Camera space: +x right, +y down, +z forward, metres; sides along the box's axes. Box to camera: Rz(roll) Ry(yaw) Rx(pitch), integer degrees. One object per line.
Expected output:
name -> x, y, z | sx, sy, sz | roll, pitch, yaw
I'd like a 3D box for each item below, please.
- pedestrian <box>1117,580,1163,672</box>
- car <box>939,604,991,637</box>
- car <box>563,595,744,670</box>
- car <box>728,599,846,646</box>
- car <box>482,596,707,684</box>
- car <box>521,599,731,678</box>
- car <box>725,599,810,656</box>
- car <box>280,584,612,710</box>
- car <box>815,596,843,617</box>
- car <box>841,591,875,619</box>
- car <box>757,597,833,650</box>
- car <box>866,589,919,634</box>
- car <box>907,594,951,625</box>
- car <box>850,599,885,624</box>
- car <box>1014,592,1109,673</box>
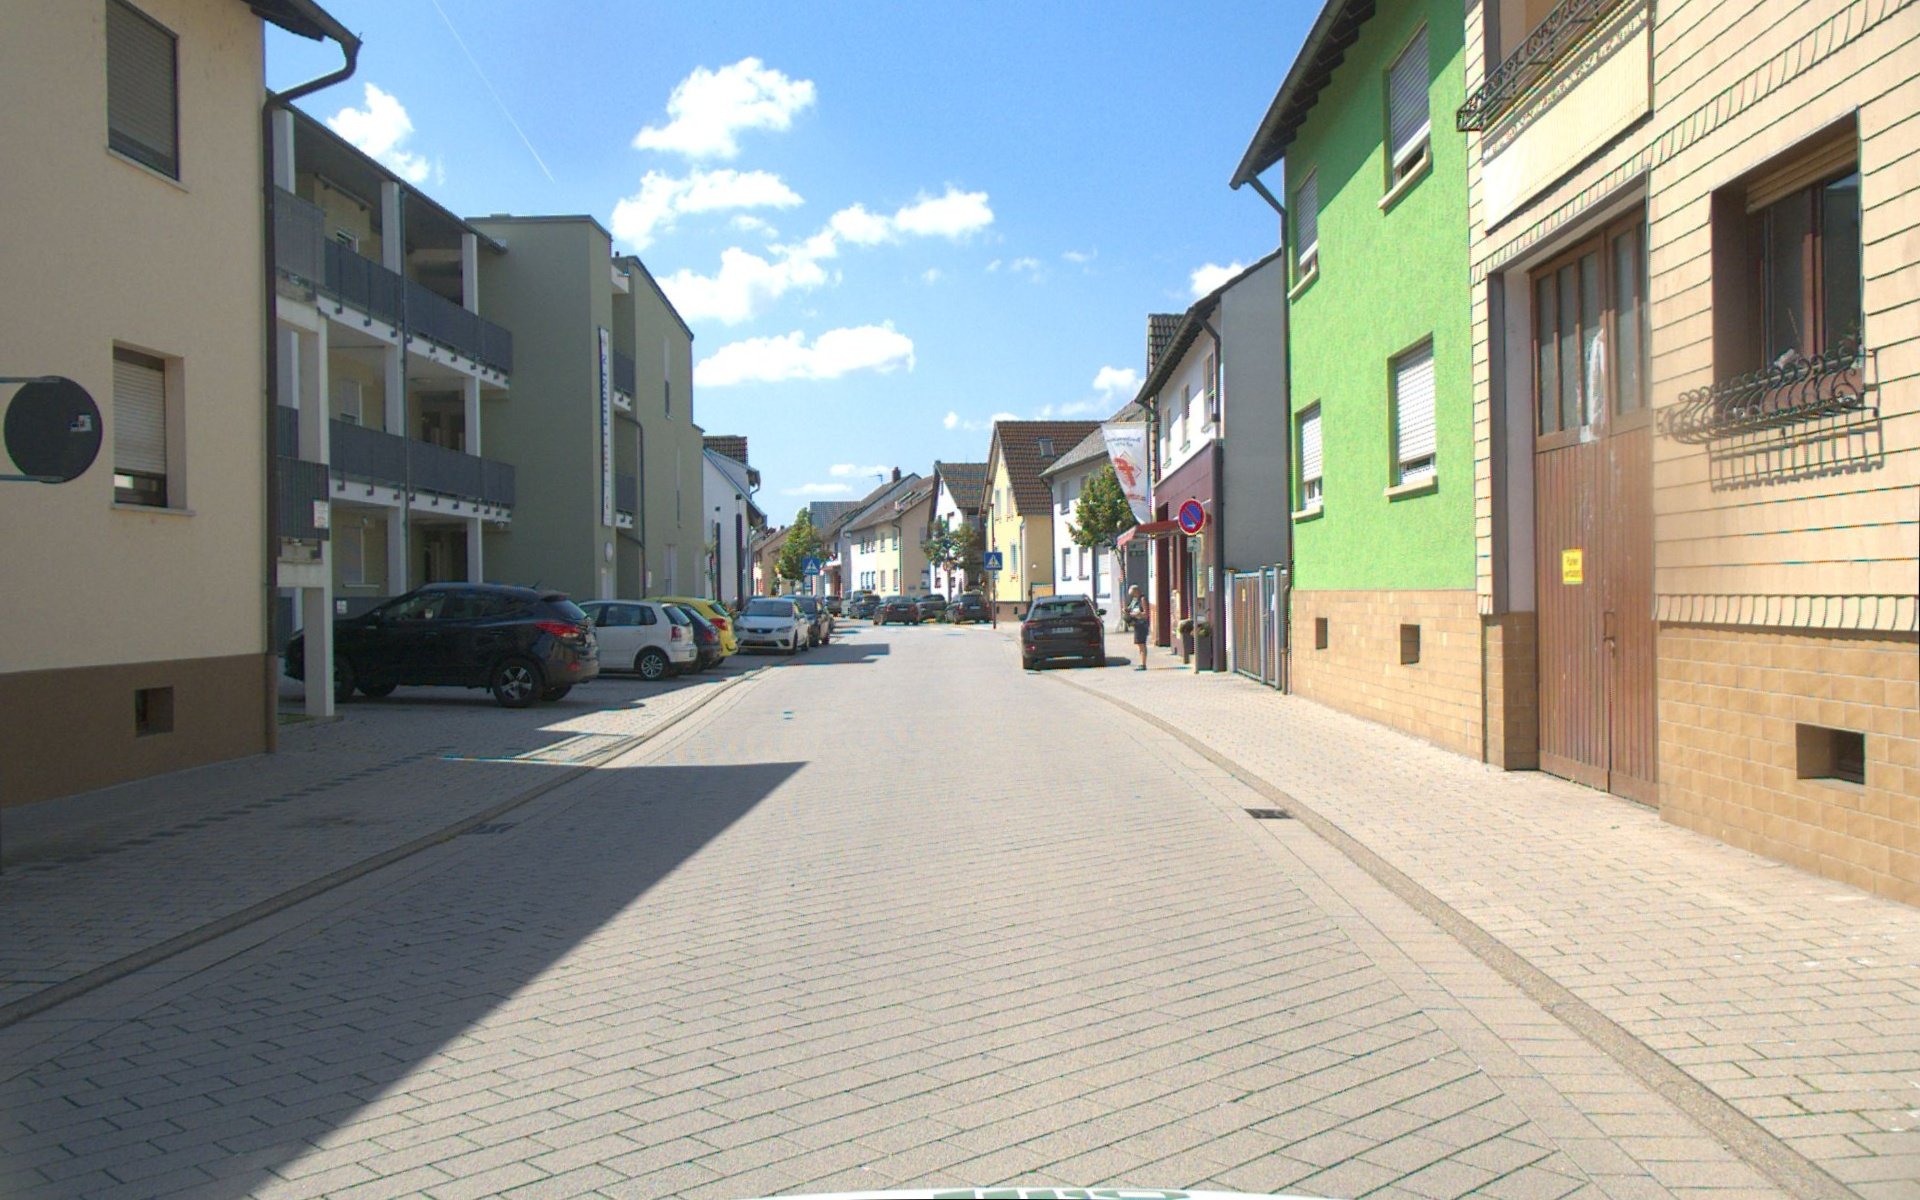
pedestrian -> 3.408, 0.490, 31.379 | 0.714, 1.668, 0.749 | -4, 0, 4
car -> 0.223, 0.994, 82.528 | 1.796, 1.496, 4.265 | -4, 0, -10
car -> -6.675, 0.693, 36.253 | 3.615, 1.552, 1.673 | 1, 0, 2
car -> -6.322, 0.817, 60.655 | 4.021, 1.463, 1.765 | -3, 0, 1
car -> -6.903, 0.735, 31.441 | 3.819, 1.529, 1.751 | 1, 0, 3
car -> -6.791, 0.764, 33.859 | 3.904, 1.467, 1.691 | 1, 0, 1
car -> -5.156, 0.706, 44.714 | 1.721, 1.435, 3.878 | 0, 1, 1
car -> -7.231, 0.634, 23.536 | 4.132, 1.687, 1.784 | 1, 0, 0
car -> -10.120, 0.522, 127.325 | 1.723, 1.519, 3.990 | -2, 0, -10
car -> -7.328, 0.315, 118.605 | 1.872, 1.904, 3.990 | -2, 0, -10
car -> -4.983, 0.681, 50.459 | 1.776, 1.516, 4.278 | 0, 1, 1
car -> -3.365, 0.553, 82.001 | 1.958, 2.093, 4.362 | -2, 0, -11
car -> -1.748, 0.509, 92.047 | 1.813, 1.590, 3.684 | -2, 0, -10
car -> -6.323, 0.749, 113.019 | 1.844, 1.619, 3.990 | -2, 0, -10
car -> 2.203, 0.649, 35.572 | 1.819, 1.484, 4.588 | -4, 0, 4
